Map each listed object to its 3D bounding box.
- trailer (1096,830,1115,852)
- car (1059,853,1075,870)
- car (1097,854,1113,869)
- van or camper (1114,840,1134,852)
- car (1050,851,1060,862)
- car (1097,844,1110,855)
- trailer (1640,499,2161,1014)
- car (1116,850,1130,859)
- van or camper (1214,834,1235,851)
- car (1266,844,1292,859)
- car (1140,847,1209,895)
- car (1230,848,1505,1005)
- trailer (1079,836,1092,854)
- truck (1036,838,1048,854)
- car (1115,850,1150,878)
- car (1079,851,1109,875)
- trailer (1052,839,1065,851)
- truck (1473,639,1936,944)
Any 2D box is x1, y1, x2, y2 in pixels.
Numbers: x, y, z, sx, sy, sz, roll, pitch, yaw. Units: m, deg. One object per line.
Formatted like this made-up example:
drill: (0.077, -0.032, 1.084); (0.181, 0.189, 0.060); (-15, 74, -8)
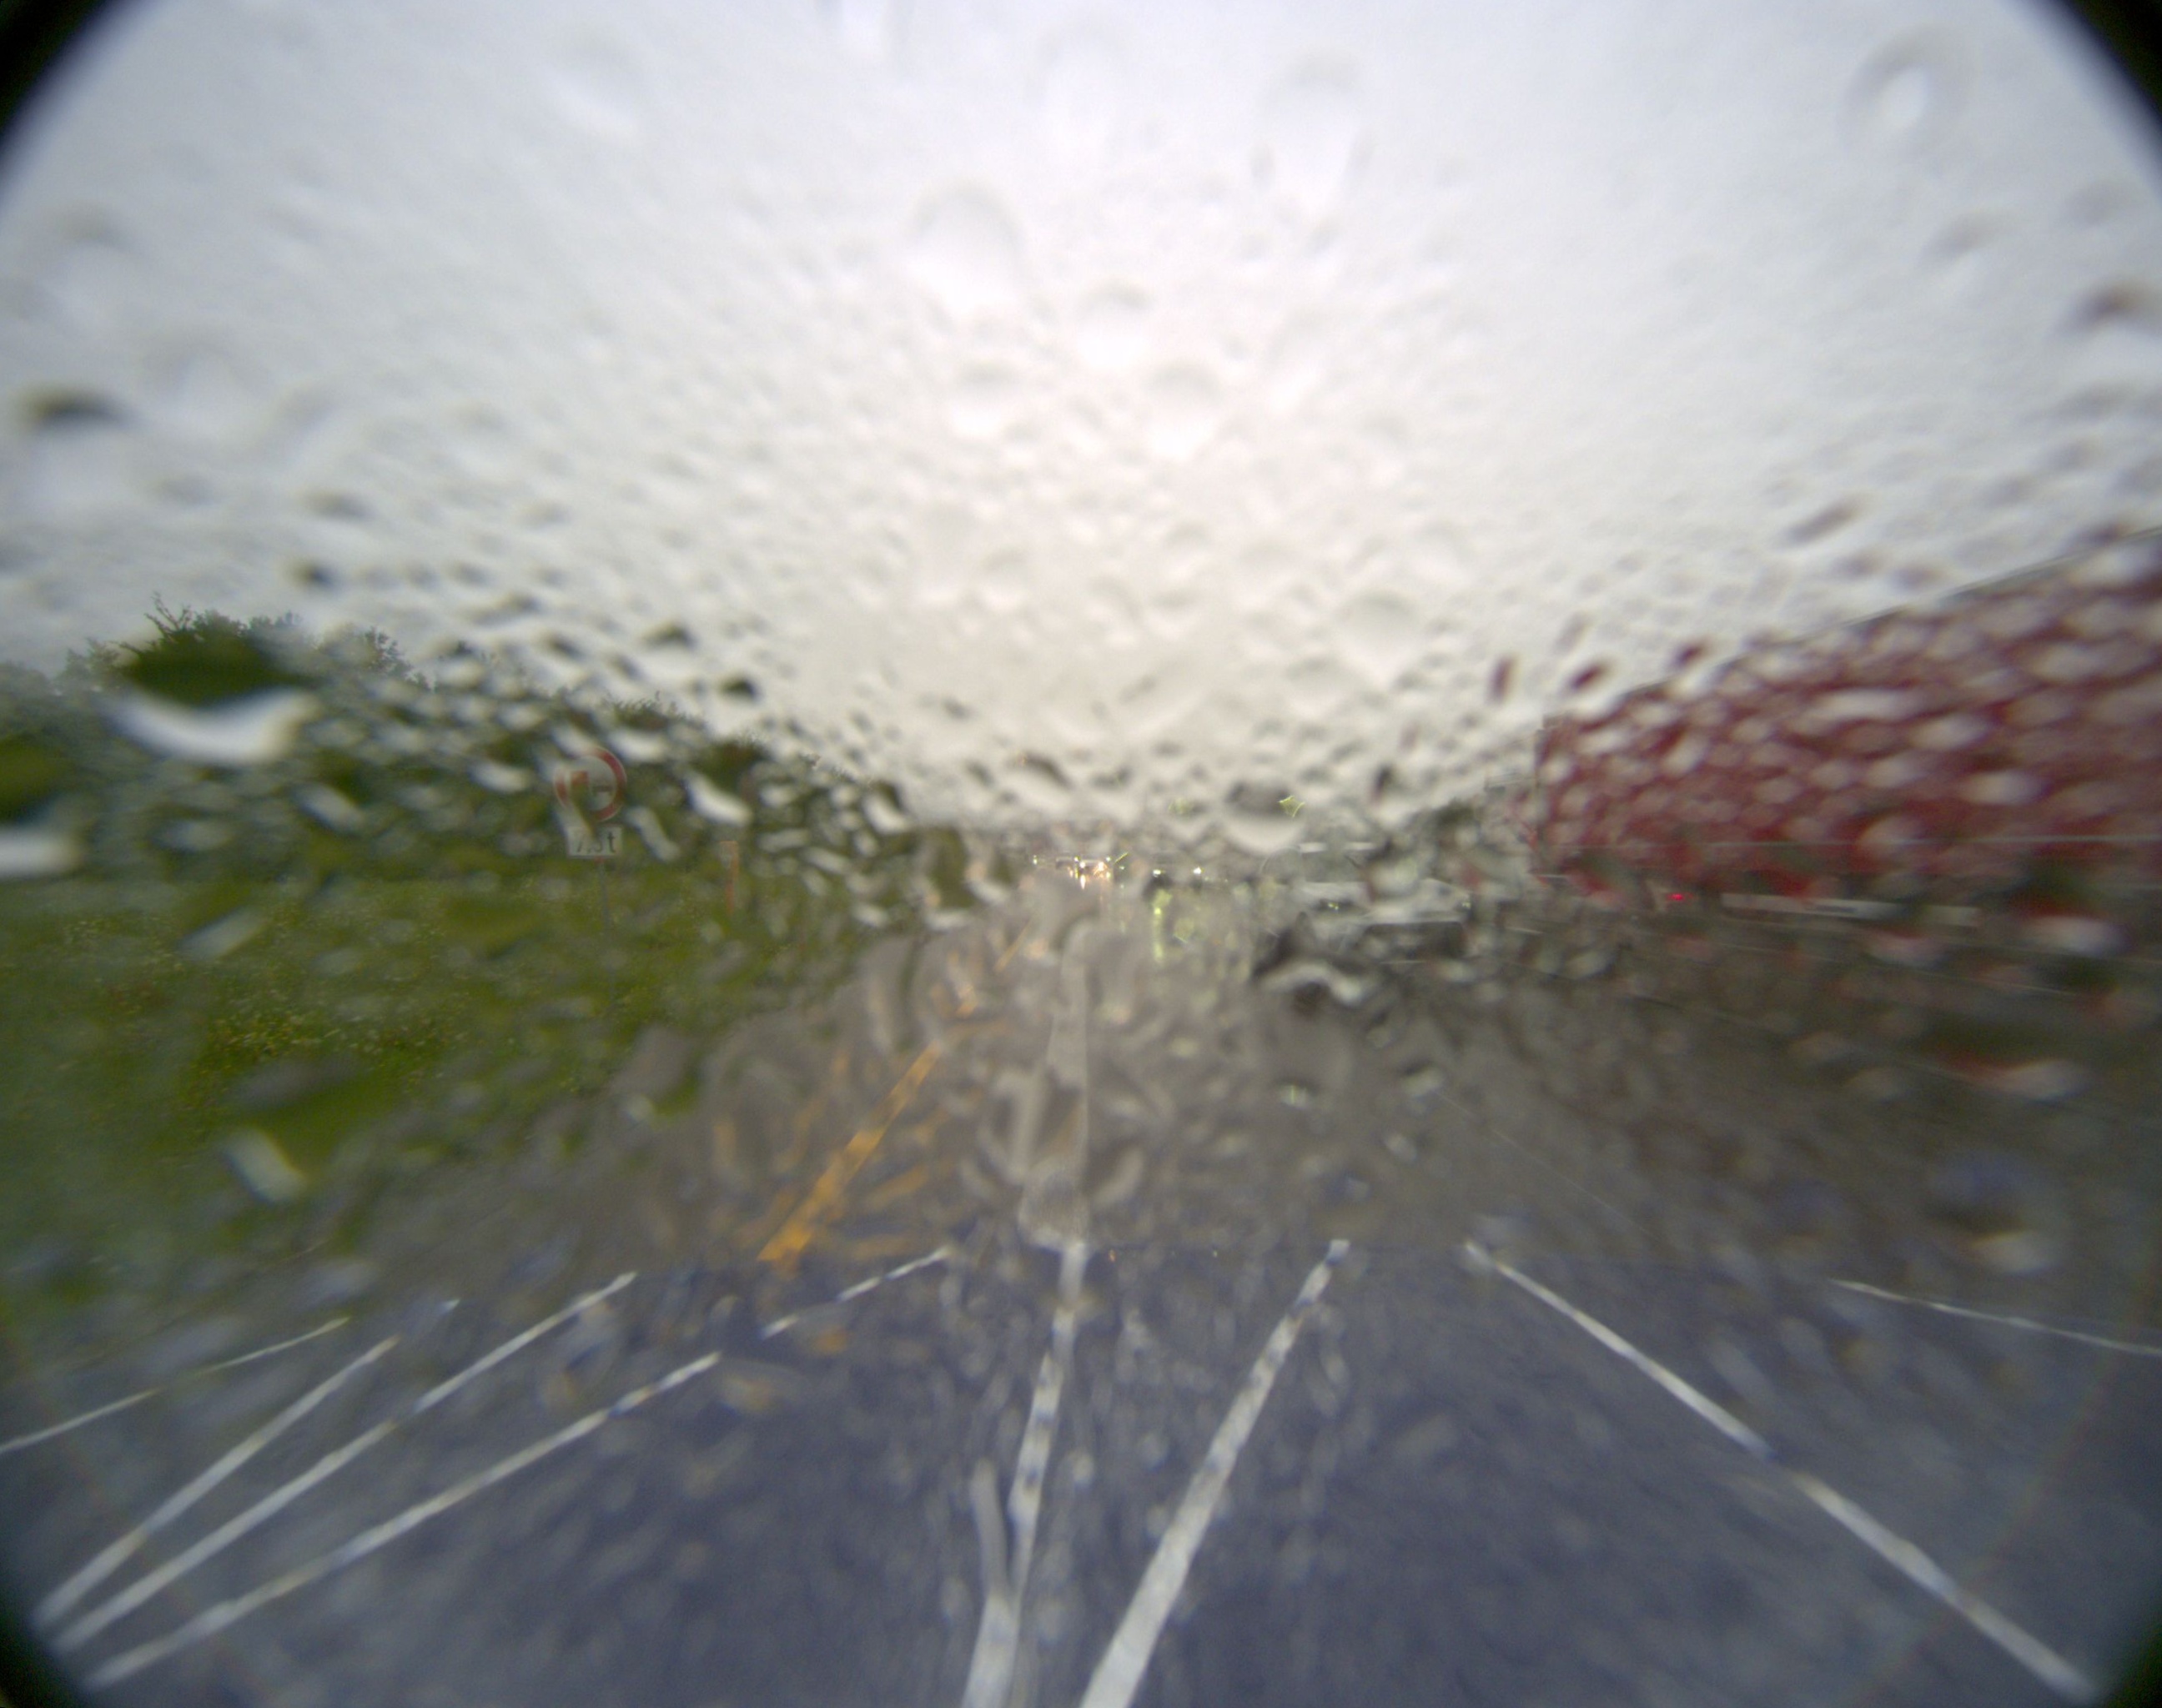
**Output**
trailer: (4.754, -2.473, 148.502); (2.915, 4.065, 12.218); (-1, 0, -1)
car: (-1.559, 0.815, 86.253); (1.673, 1.804, 3.999); (-1, 1, 0)
car: (2.541, 0.747, 82.074); (1.589, 1.528, 3.831); (-1, 1, 0)
van or camper: (13.349, -2.497, 235.530); (5.423, 3.326, 3.375); (-3, 1, -6)
car: (-4.667, 0.476, 134.610); (1.674, 1.804, 3.998); (-1, 1, -4)
car: (3.475, -0.688, 120.231); (1.806, 1.584, 4.182); (-3, 1, -1)
trailer: (10.466, -0.820, 6.704); (2.983, 4.270, 11.058); (-1, 1, 0)
car: (6.940, 0.086, 126.145); (1.999, 1.497, 4.295); (-2, 1, -1)
van or camper: (37.878, -3.002, 200.722); (3.376, 4.299, 8.502); (-3, 1, -4)
car: (28.093, -0.341, 107.997); (2.099, 1.955, 5.363); (-2, 1, -3)
car: (3.437, 0.557, 28.934); (2.069, 1.618, 5.195); (-2, 1, 2)
car: (3.460, 0.737, 10.368); (1.932, 1.542, 5.006); (-2, 1, 1)
trailer: (1.135, -2.250, 184.910); (2.501, 4.027, 12.580); (-1, 2, -2)
truck: (-10.173, -2.069, 199.435); (2.506, 4.067, 15.197); (-3, 1, -1)
car: (2.996, 0.555, 44.758); (1.792, 1.481, 3.999); (-3, 1, 1)
car: (1.014, 0.689, 60.725); (1.882, 1.772, 3.997); (-1, 1, -6)
trailer: (-7.459, -2.980, 251.280); (2.608, 4.054, 12.420); (-2, 1, -9)
truck: (10.497, -0.906, 14.068); (3.015, 4.247, 6.799); (-1, 1, 1)
